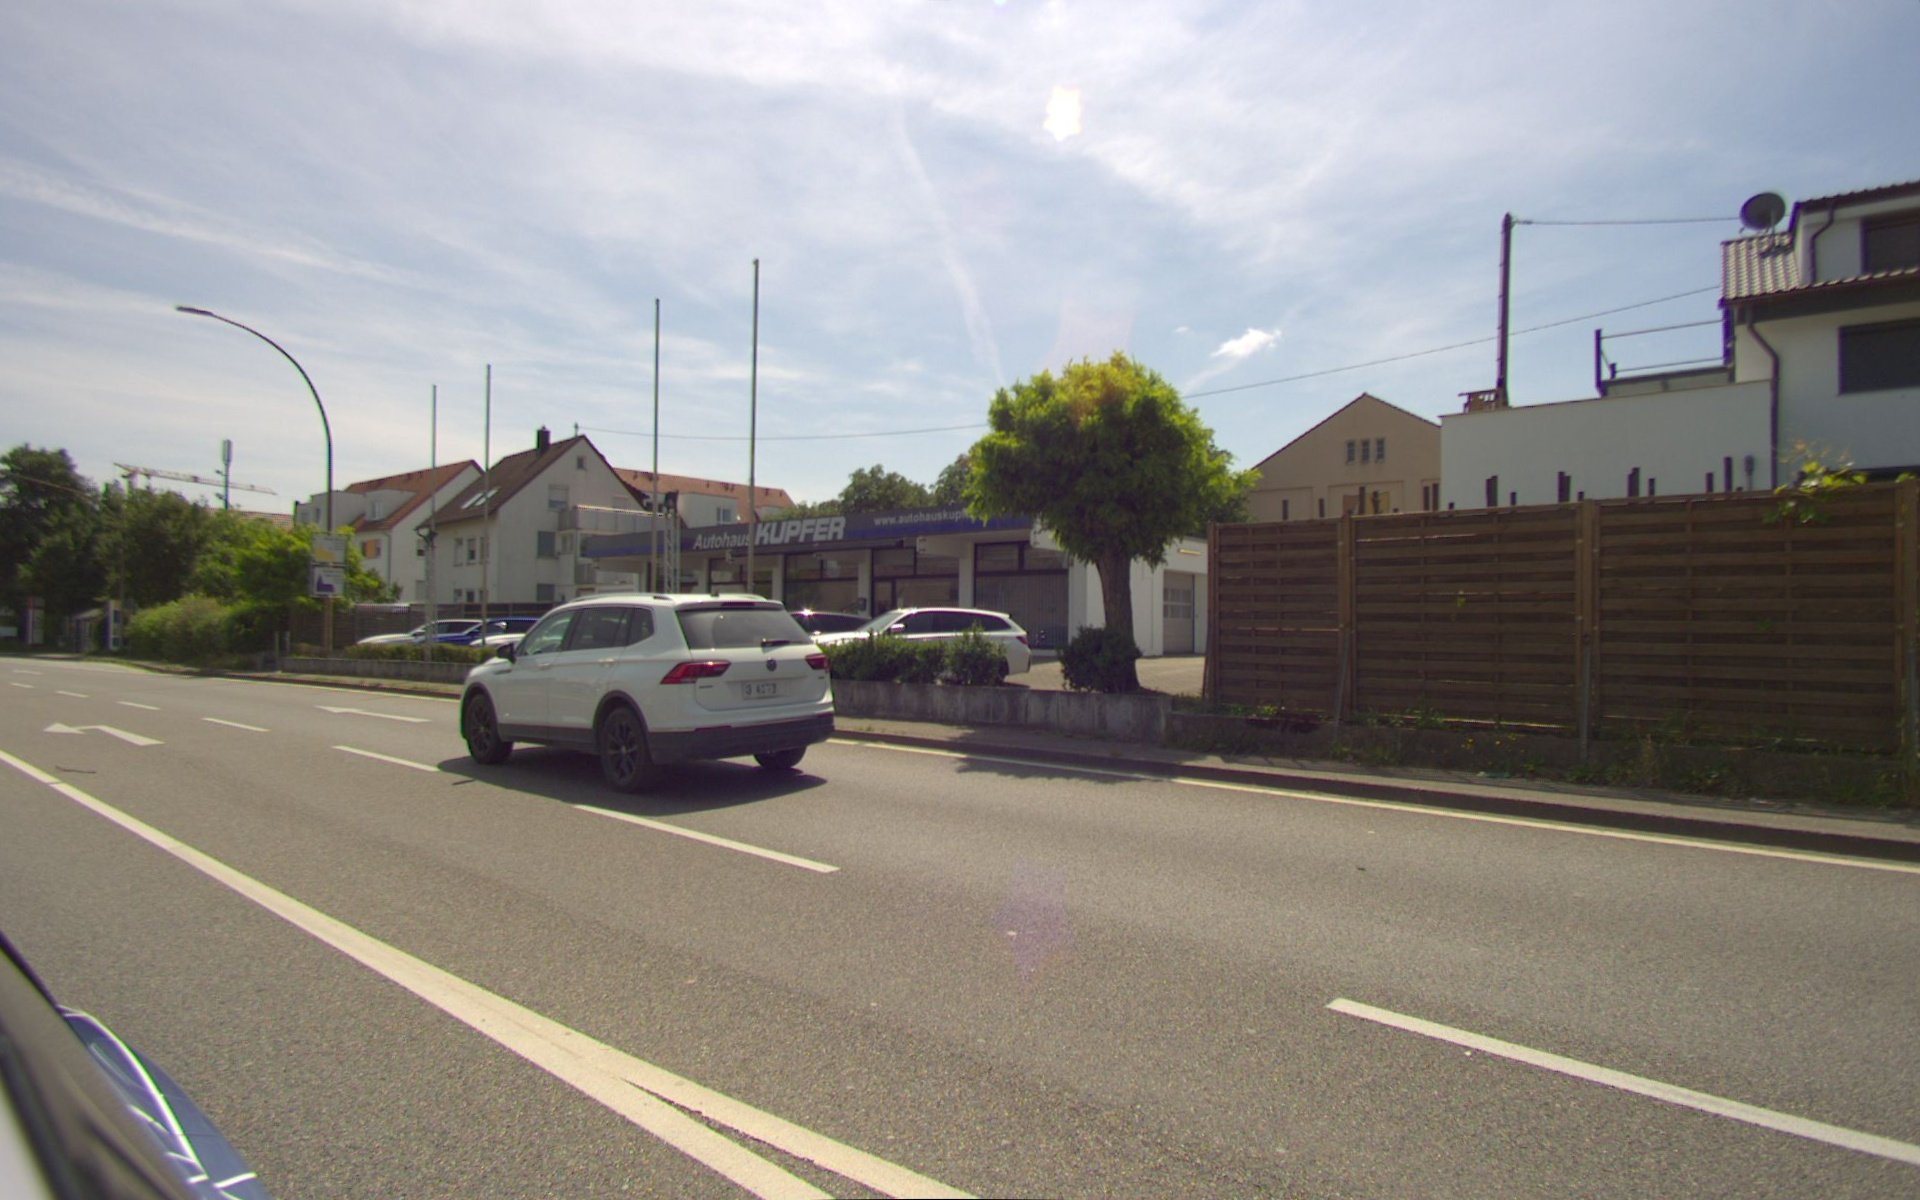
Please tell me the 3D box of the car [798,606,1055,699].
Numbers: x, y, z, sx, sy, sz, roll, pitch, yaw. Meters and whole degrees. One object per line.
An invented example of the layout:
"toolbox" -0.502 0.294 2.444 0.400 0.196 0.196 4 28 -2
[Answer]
"car" -0.605 0.887 18.474 4.264 1.471 1.861 -1 -1 -25

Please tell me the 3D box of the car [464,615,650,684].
"car" -10.264 1.221 25.914 4.239 1.530 2.006 -1 -1 -22

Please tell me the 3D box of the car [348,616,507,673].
"car" -16.407 1.341 31.435 4.192 1.541 2.007 -1 -1 -23

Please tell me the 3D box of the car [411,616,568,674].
"car" -13.354 1.242 28.945 3.931 1.475 2.007 -1 -1 -23

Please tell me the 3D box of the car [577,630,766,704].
"car" -6.651 1.486 23.308 3.931 1.453 1.860 -1 -1 -24

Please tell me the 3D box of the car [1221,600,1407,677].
"car" 7.390 0.744 20.981 3.936 1.451 1.886 1 -1 -39

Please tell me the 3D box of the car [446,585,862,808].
"car" -3.111 0.764 9.748 4.402 1.668 1.826 -2 -1 42
